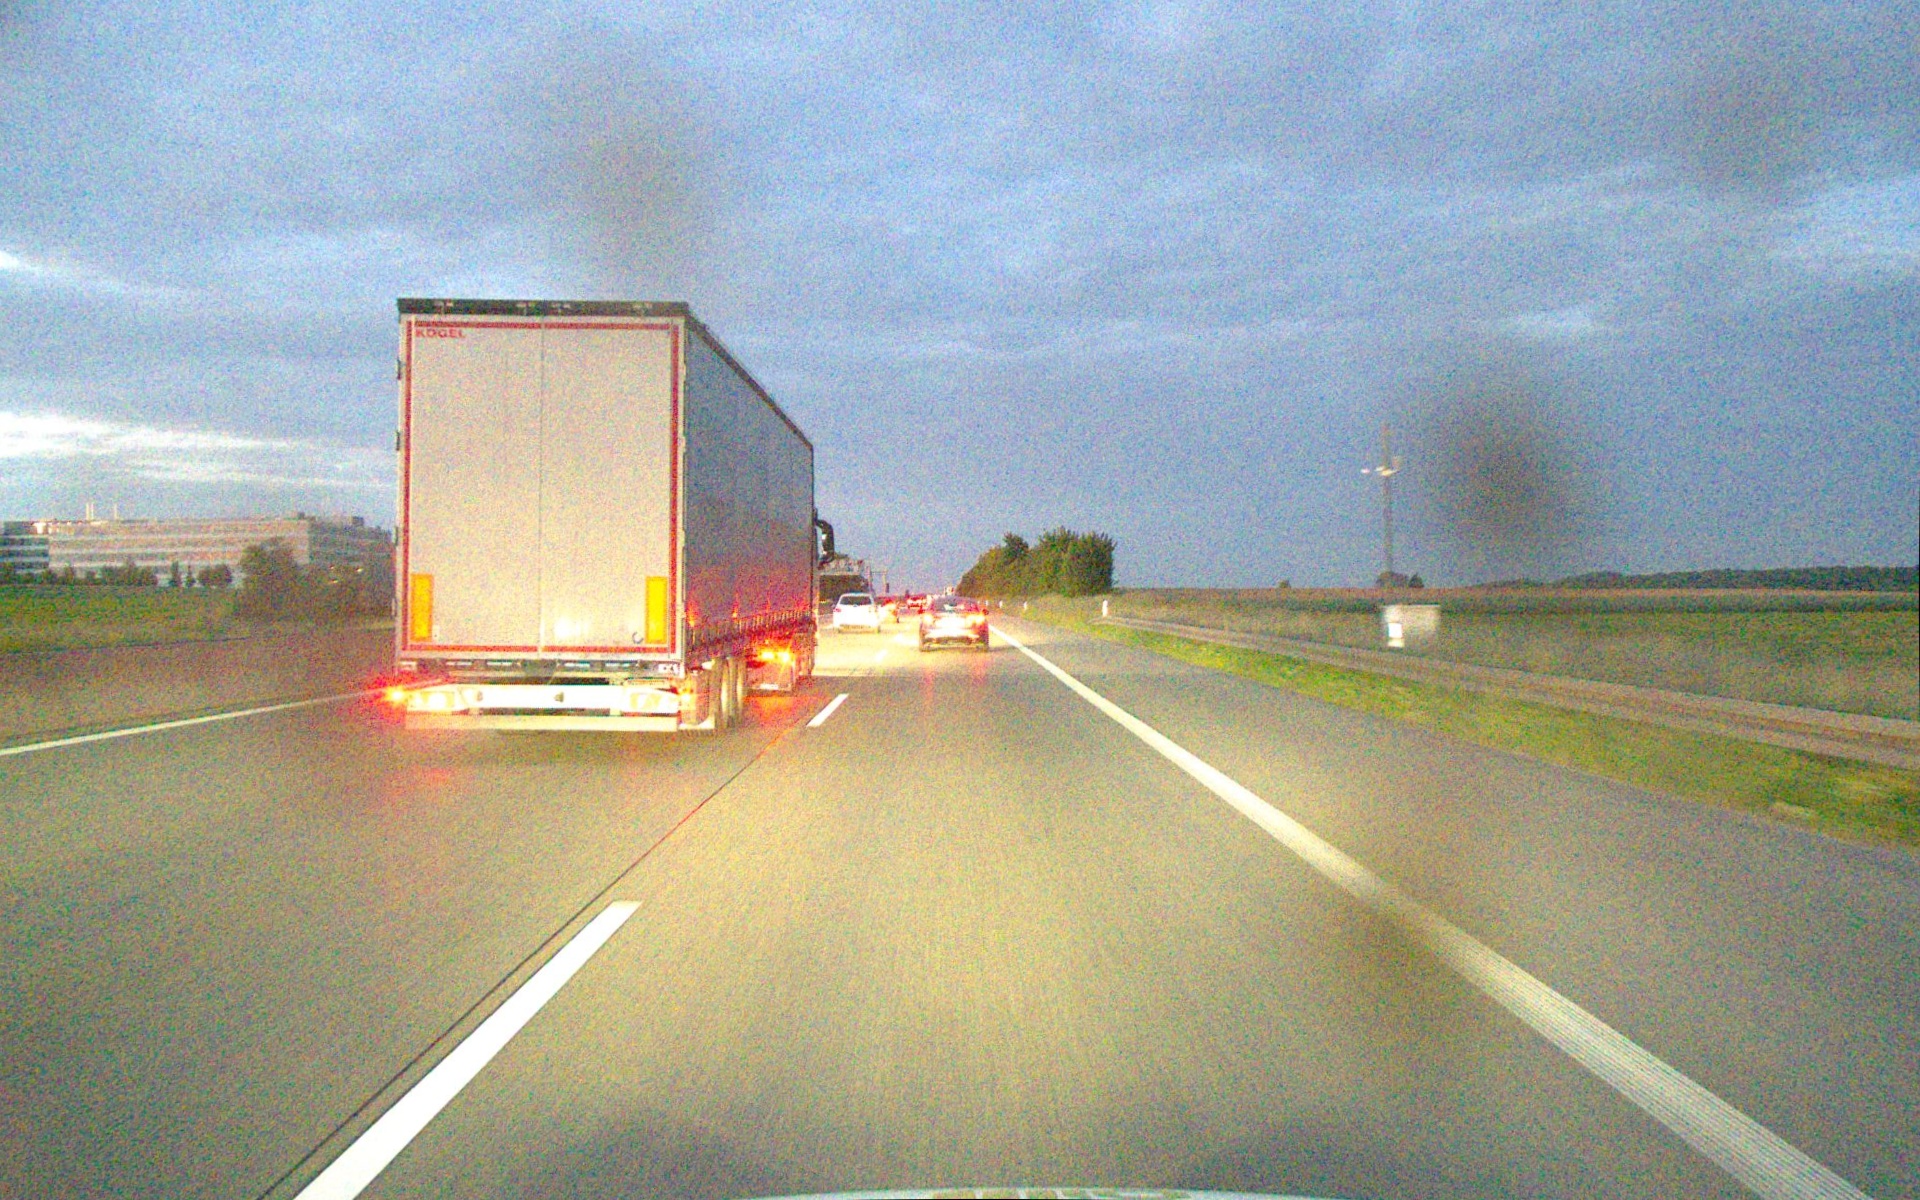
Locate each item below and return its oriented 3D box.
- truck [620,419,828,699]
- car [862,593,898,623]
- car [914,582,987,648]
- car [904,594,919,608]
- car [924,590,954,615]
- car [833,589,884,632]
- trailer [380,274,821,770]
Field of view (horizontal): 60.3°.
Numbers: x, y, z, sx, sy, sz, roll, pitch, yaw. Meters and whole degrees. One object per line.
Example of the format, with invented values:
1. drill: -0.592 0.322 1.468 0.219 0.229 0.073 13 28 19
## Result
1. truck: -3.766 -0.601 27.742 2.721 4.164 6.101 0 0 -1
2. car: -4.074 0.407 85.177 1.688 1.497 4.725 1 0 -1
3. car: -0.254 0.393 44.254 1.842 1.672 3.999 1 0 -1
4. car: -5.905 0.133 202.544 1.842 1.579 3.999 1 0 -1
5. car: -1.353 0.171 106.420 1.842 1.579 3.999 1 0 -1
6. car: -3.876 0.400 63.769 1.708 1.551 4.414 1 0 0
7. trailer: -3.630 -0.620 21.143 2.737 4.157 14.521 0 0 -1
